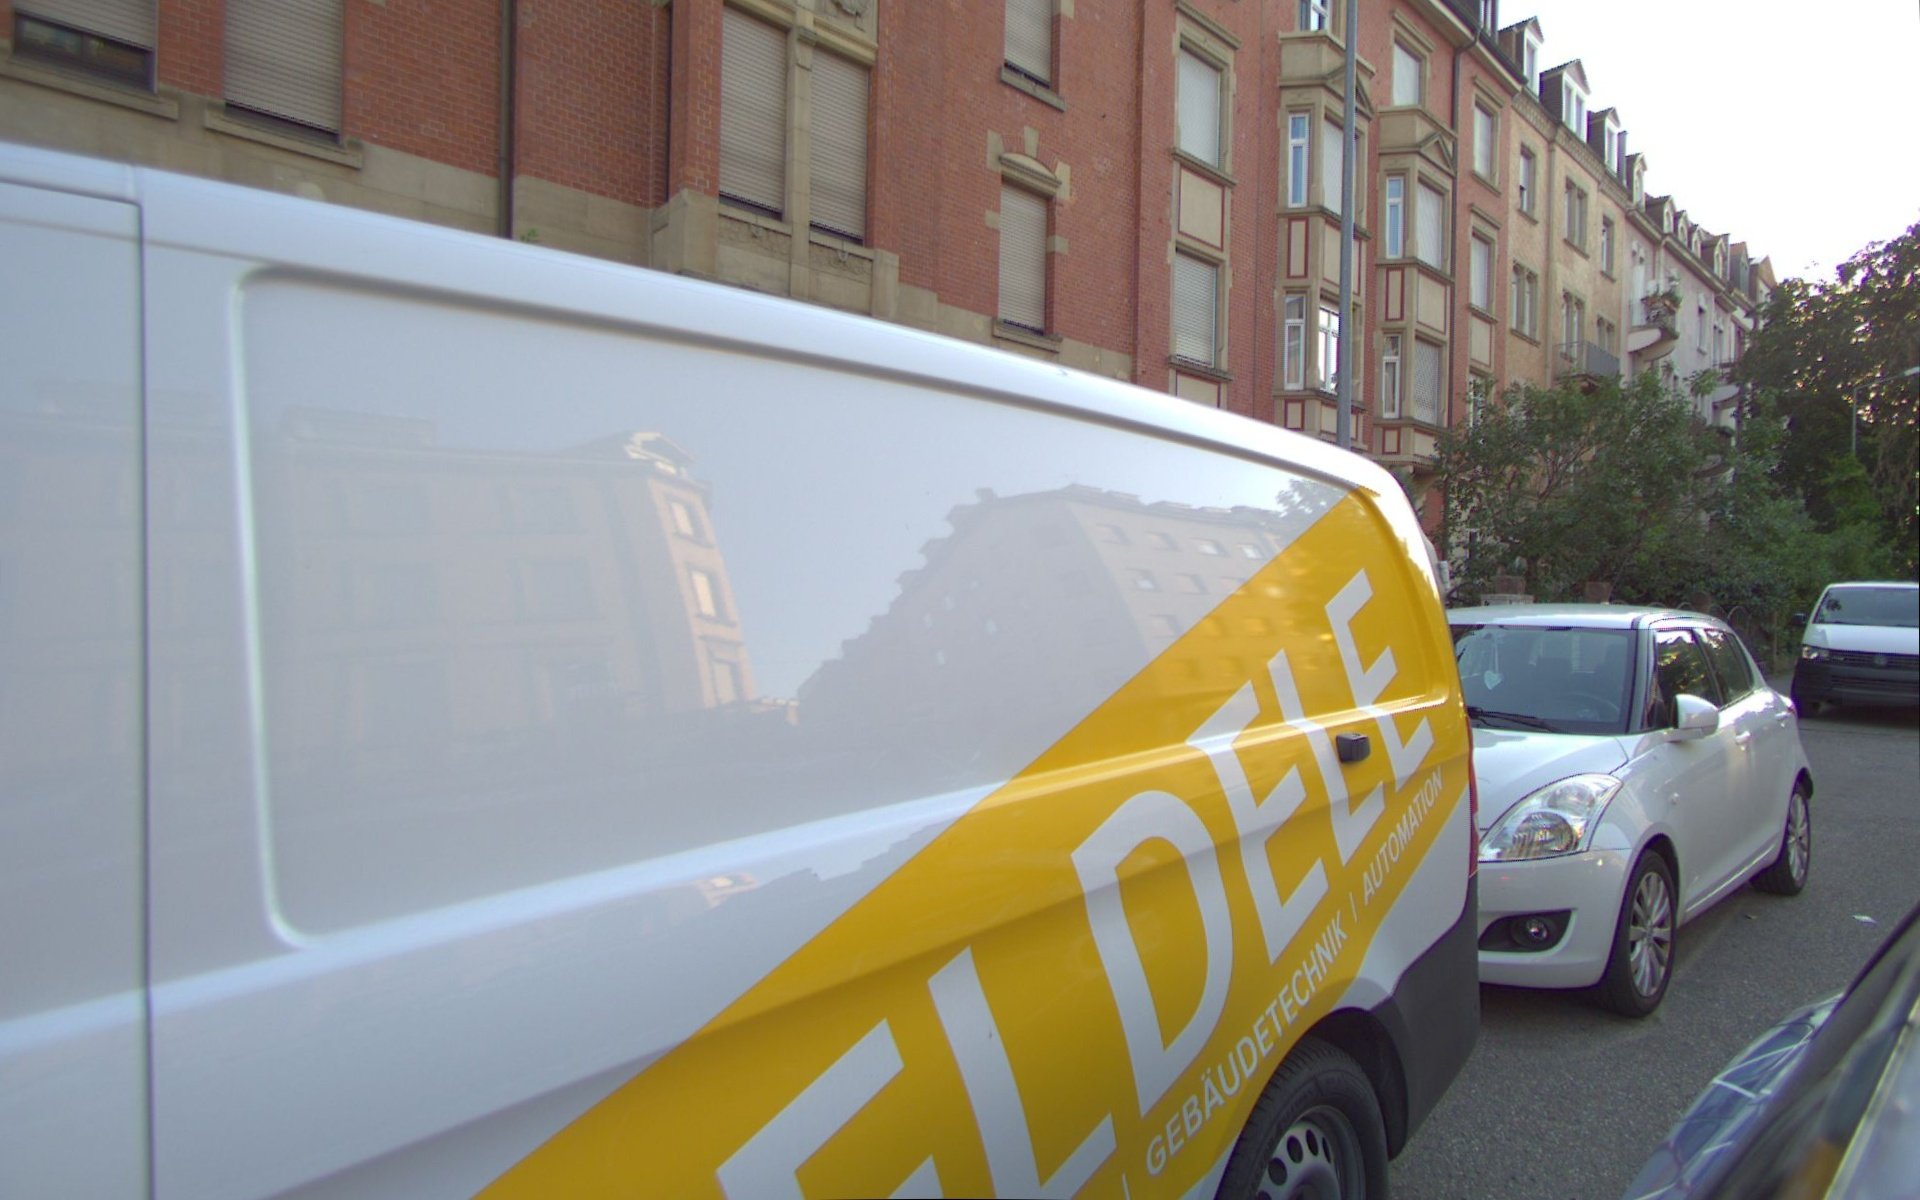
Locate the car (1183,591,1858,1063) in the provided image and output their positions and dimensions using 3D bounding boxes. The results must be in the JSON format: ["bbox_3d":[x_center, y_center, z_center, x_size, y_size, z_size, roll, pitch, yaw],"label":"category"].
[{"bbox_3d":[2.989,0.722,5.068,3.792,1.496,1.678,0,0,-39],"label":"car"}]

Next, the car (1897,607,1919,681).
[{"bbox_3d":[22.182,0.941,22.296,4.248,1.571,1.723,0,0,-40],"label":"car"}]

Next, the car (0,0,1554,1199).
[{"bbox_3d":[-1.040,0.491,1.476,4.994,1.908,1.896,0,0,-42],"label":"car"}]

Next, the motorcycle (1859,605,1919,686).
[{"bbox_3d":[19.126,0.912,19.701,2.066,1.500,1.128,3,2,16],"label":"motorcycle"}]

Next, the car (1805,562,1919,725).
[{"bbox_3d":[14.183,0.572,14.962,5.451,2.064,1.864,0,2,-43],"label":"car"}]
